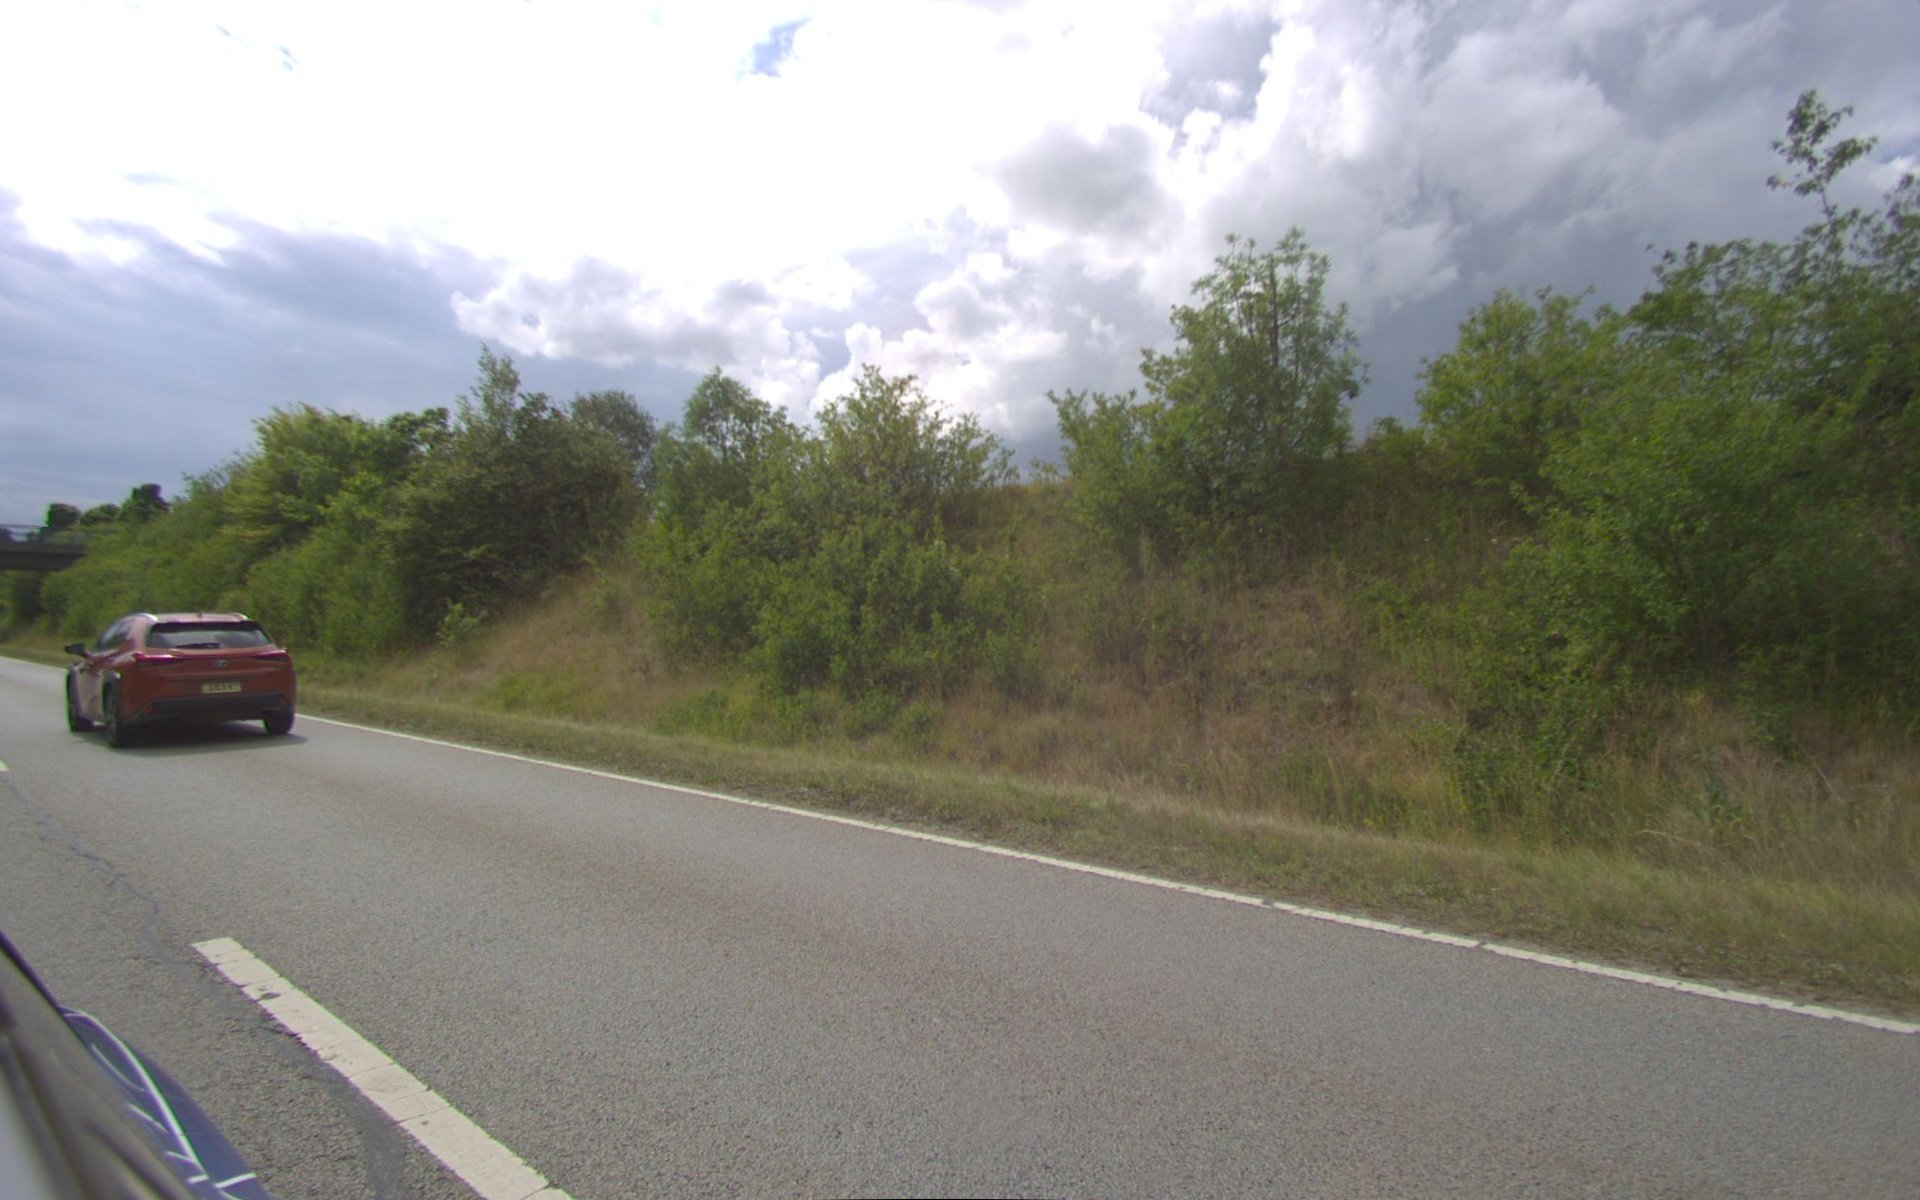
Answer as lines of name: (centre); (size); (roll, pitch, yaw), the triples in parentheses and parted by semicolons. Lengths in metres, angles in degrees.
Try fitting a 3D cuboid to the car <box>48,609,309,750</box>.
car: (-9.977, 0.882, 12.790); (4.409, 1.476, 1.810); (-1, -1, 41)
